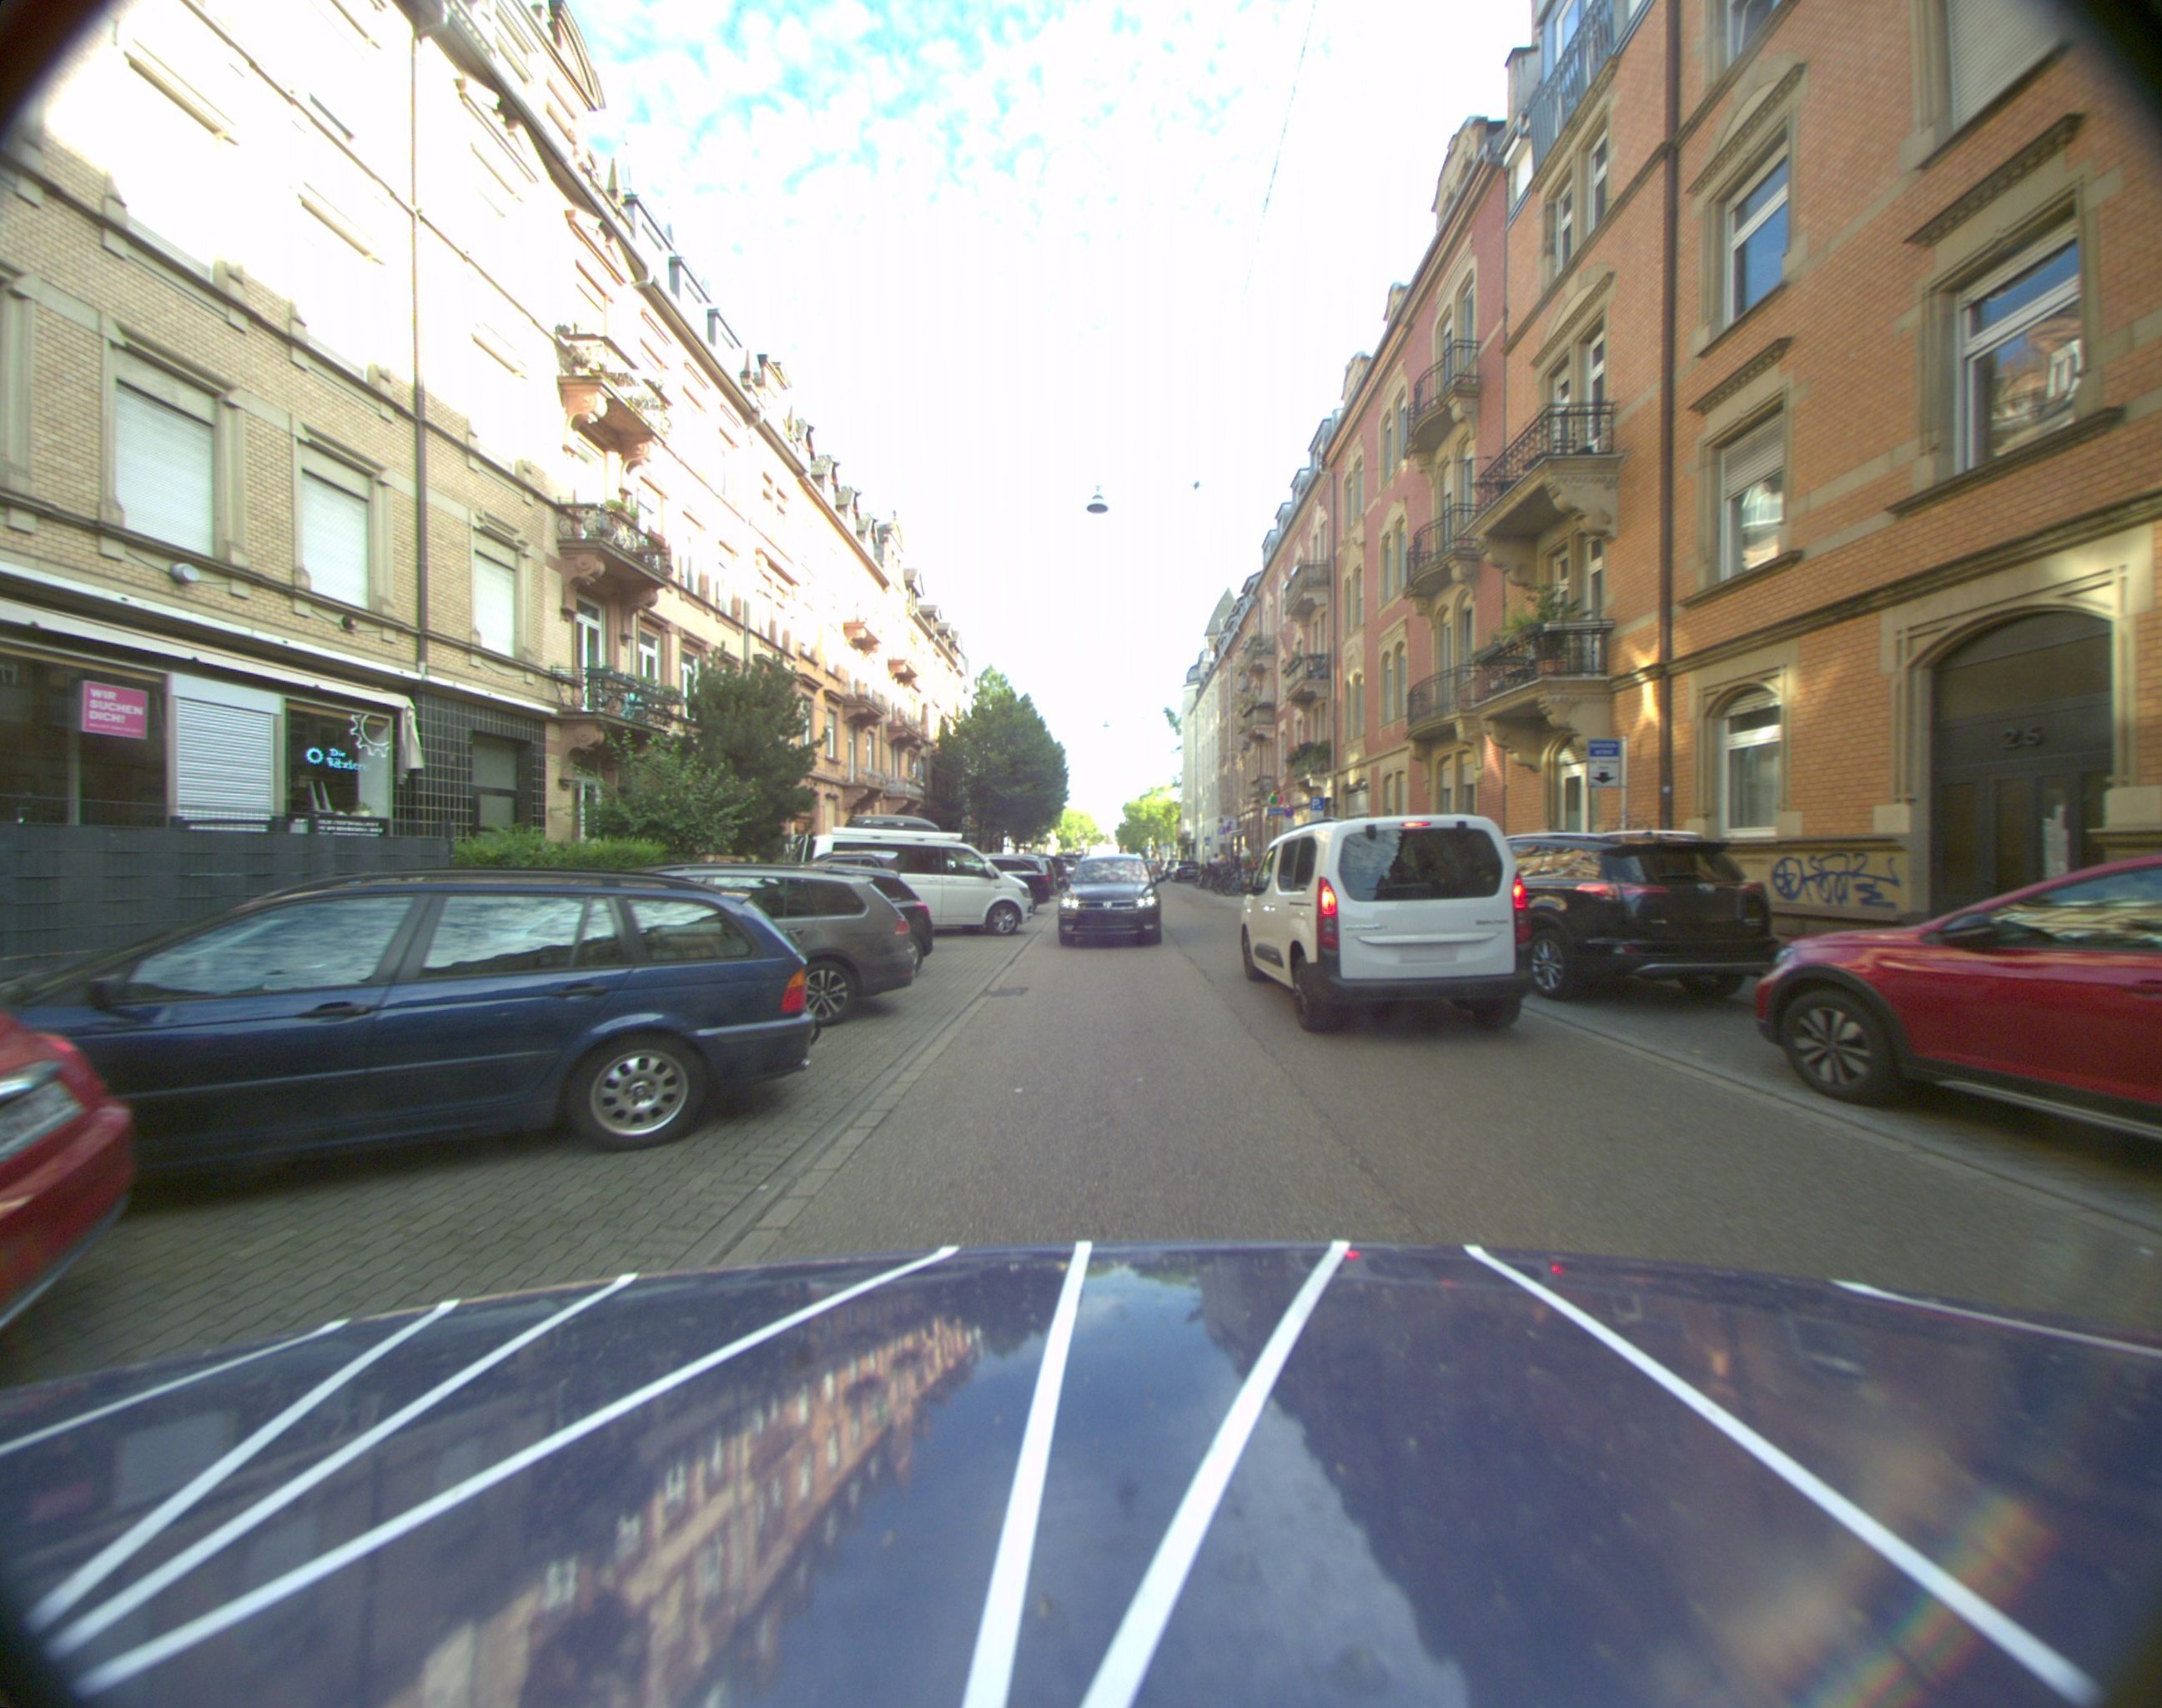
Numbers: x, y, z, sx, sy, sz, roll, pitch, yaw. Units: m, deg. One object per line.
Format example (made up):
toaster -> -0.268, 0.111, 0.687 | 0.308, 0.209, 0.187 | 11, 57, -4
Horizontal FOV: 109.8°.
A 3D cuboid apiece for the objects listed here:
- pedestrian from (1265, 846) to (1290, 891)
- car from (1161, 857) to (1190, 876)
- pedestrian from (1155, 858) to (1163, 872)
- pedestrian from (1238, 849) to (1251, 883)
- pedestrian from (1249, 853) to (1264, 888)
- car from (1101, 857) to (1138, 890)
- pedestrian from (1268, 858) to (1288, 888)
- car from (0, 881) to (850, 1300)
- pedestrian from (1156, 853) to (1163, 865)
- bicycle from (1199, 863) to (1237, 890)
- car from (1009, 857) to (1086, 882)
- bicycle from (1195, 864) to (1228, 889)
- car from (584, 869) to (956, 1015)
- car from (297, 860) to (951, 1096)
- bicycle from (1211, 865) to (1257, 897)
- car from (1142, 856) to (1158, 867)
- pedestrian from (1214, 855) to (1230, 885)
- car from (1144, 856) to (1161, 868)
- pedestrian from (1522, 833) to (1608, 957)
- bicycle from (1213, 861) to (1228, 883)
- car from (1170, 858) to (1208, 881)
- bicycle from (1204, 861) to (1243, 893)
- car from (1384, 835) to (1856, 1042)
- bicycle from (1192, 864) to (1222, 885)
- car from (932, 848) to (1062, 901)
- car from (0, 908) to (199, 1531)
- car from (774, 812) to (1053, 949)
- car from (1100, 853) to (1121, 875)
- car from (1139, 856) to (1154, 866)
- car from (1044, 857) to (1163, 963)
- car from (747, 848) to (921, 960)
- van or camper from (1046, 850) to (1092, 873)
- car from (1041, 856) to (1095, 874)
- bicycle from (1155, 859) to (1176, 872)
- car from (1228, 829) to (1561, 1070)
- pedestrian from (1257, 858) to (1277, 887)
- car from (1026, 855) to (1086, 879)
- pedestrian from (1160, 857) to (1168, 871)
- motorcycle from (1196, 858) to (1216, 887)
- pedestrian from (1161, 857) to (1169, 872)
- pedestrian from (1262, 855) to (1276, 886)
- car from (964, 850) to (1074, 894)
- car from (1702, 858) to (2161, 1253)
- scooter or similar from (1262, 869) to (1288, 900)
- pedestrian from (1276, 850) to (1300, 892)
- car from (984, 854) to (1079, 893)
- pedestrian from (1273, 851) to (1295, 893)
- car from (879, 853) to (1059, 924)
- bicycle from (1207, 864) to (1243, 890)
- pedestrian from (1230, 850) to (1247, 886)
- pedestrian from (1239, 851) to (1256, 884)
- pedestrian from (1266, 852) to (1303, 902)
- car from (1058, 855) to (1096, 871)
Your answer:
pedestrian -> 8.299, 0.598, 32.083 | 0.764, 1.843, 0.664 | -2, 0, -29
car -> 7.252, 0.956, 58.672 | 1.674, 1.407, 4.011 | -1, 0, -1
pedestrian -> 7.515, 1.040, 73.187 | 0.738, 1.341, 0.644 | -1, 0, 5
pedestrian -> 8.541, 0.637, 39.716 | 0.605, 1.741, 0.726 | -1, 0, 13
pedestrian -> 8.290, 0.777, 35.849 | 0.554, 1.607, 0.584 | -1, 0, 2
car -> 2.077, 1.012, 40.416 | 1.810, 1.622, 4.001 | -2, 0, 3
pedestrian -> 8.844, 0.856, 34.099 | 0.719, 1.306, 0.439 | -1, 0, -2
car -> -3.742, 0.923, 3.968 | 4.477, 1.455, 1.875 | 2, -1, -32
pedestrian -> 10.990, 0.661, 105.901 | 0.845, 1.699, 0.879 | -1, 0, 2
bicycle -> 6.413, 1.046, 35.503 | 1.794, 1.193, 0.589 | -2, 0, -34
car -> -2.132, 1.010, 49.147 | 4.620, 1.443, 1.788 | 2, 0, -30
bicycle -> 6.220, 1.069, 36.127 | 1.573, 1.114, 0.589 | -2, 0, -34
car -> -3.797, 0.944, 9.614 | 4.003, 1.450, 1.746 | 1, -1, -39
car -> -3.662, 0.886, 6.871 | 4.479, 1.468, 1.884 | 3, -2, -37
bicycle -> 6.085, 1.051, 30.110 | 0.806, 1.152, 2.274 | -1, 0, 40
car -> 9.129, 0.974, 101.175 | 1.911, 1.412, 4.001 | -1, 0, 2
pedestrian -> 8.725, 0.972, 46.988 | 0.761, 1.808, 0.667 | -1, 0, 32
car -> 8.890, 0.958, 95.092 | 1.827, 1.477, 4.170 | -1, 0, 2
pedestrian -> 7.288, 0.598, 11.486 | 0.758, 1.797, 0.863 | -2, 0, 6
bicycle -> 6.942, 0.883, 37.780 | 0.579, 1.084, 1.740 | -1, 0, 15
car -> 6.887, 0.970, 48.813 | 1.816, 1.343, 5.115 | -1, 0, 1
bicycle -> 6.065, 0.961, 32.309 | 1.680, 1.314, 0.526 | -2, 0, -33
car -> 5.482, 0.736, 8.790 | 1.878, 1.671, 4.894 | -1, -1, -1
bicycle -> 6.750, 1.089, 40.664 | 1.577, 1.110, 0.375 | -1, 0, 41
car -> -3.119, 0.791, 28.994 | 4.648, 1.774, 1.811 | 2, -2, 1
car -> -4.401, 0.894, 1.112 | 3.727, 1.476, 1.737 | 2, -1, -36
car -> -3.300, 0.489, 15.390 | 5.169, 2.391, 1.913 | 1, 0, -31
car -> 2.725, 0.890, 69.967 | 1.810, 1.914, 4.001 | -2, 0, 3
car -> 9.300, 0.969, 107.669 | 1.911, 1.412, 4.001 | -1, 0, 2
car -> 0.579, 0.911, 14.340 | 1.873, 1.644, 4.389 | -1, 0, 6
car -> -4.019, 0.811, 12.326 | 2.472, 1.656, 1.344 | 3, -2, -24
van or camper -> -1.194, 0.738, 74.242 | 4.006, 2.166, 1.996 | -1, 0, -28
car -> -1.219, 1.030, 71.700 | 4.816, 1.535, 1.866 | 2, 0, -30
bicycle -> 7.964, 1.104, 71.502 | 1.872, 1.168, 0.688 | -1, 0, 4
car -> 2.810, 0.743, 8.020 | 1.922, 1.817, 4.439 | -1, 0, 4
pedestrian -> 8.644, 0.861, 35.306 | 0.725, 1.306, 0.606 | -1, 0, -1
car -> -1.823, 0.932, 55.420 | 4.007, 1.689, 1.848 | 1, -1, -33
pedestrian -> 8.087, 1.002, 73.962 | 0.668, 1.328, 0.740 | -1, 0, 9
motorcycle -> 6.266, 0.921, 38.027 | 0.708, 1.376, 2.026 | -1, 0, 17
pedestrian -> 8.040, 0.985, 72.587 | 0.689, 1.365, 0.740 | -1, 0, 6
pedestrian -> 8.974, 0.768, 36.345 | 0.605, 1.461, 0.726 | -1, 0, 13
car -> -2.678, 0.794, 33.116 | 4.411, 1.812, 1.751 | 2, 0, -29
car -> 5.270, 0.806, 3.057 | 1.998, 1.536, 4.427 | 0, 0, 1
scooter or similar -> 6.792, 1.064, 26.644 | 0.607, 1.049, 0.922 | -2, 0, -3
pedestrian -> 8.331, 0.677, 30.570 | 0.667, 1.686, 0.584 | -2, 0, -28
car -> -2.312, 0.896, 35.752 | 4.006, 1.730, 1.835 | 1, 0, -28
pedestrian -> 8.342, 0.750, 31.201 | 0.566, 1.686, 0.646 | -2, 0, -29
car -> -3.063, 0.882, 21.043 | 4.465, 1.722, 1.995 | -1, 0, -33
bicycle -> 6.623, 1.057, 34.907 | 1.741, 1.114, 0.554 | -2, 0, -34
pedestrian -> 8.223, 0.720, 39.636 | 0.646, 1.881, 0.602 | -1, 0, 32
pedestrian -> 9.014, 0.722, 41.059 | 0.688, 1.749, 0.667 | -1, 0, 32
pedestrian -> 6.869, 0.762, 25.689 | 0.913, 1.651, 0.827 | -2, 0, -6
car -> -0.452, 1.055, 88.090 | 4.006, 1.663, 1.923 | -1, 0, -29
